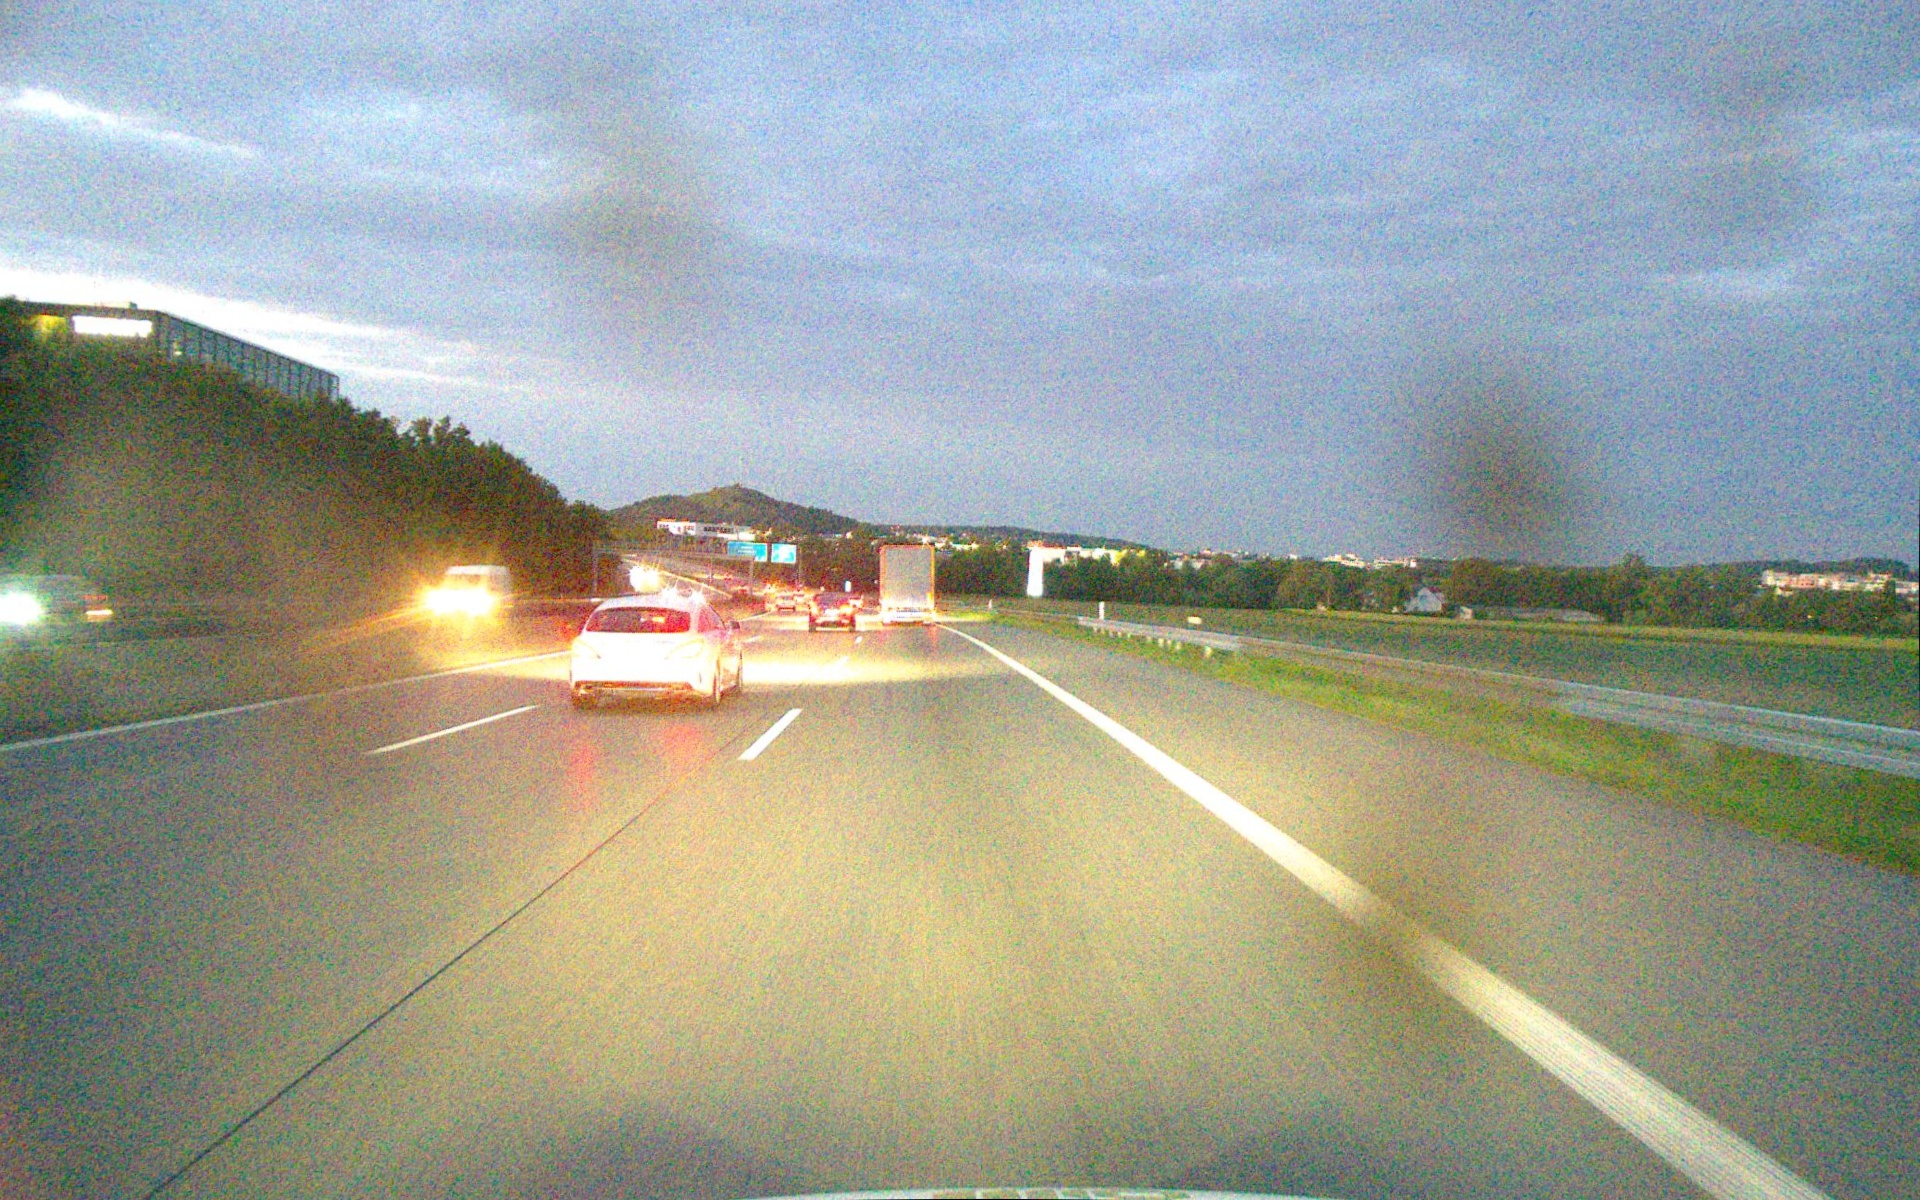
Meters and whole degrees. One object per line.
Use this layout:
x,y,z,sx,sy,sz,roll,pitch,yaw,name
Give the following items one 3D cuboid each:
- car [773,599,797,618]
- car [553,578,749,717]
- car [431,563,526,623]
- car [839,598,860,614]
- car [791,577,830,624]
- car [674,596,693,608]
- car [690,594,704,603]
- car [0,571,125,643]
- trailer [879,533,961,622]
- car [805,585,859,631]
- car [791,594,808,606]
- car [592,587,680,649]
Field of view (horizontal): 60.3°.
-16.091,0.751,151.950,1.957,1.650,3.990,1,0,-10,car
-4.021,0.580,22.287,1.868,1.642,4.801,1,0,-2,car
-21.260,-0.284,73.351,2.279,2.474,7.092,1,0,-2,car
-11.766,0.641,176.091,1.955,1.561,3.994,1,0,-7,car
-7.942,0.040,87.750,1.955,2.422,3.994,1,0,-6,car
-33.589,0.255,200.870,1.954,1.478,3.831,1,0,-4,car
-39.196,-0.189,246.637,1.799,1.359,4.904,1,0,-5,car
-23.504,0.162,42.212,1.953,1.723,4.968,1,0,-2,car
-2.277,-0.988,86.281,3.480,4.188,15.048,1,-1,-4,trailer
-5.072,0.303,65.519,2.025,1.715,4.572,1,0,-5,car
-23.085,0.029,237.451,1.959,1.650,3.987,1,0,-13,car
-8.889,0.477,45.721,1.727,1.602,4.573,1,0,-3,car
